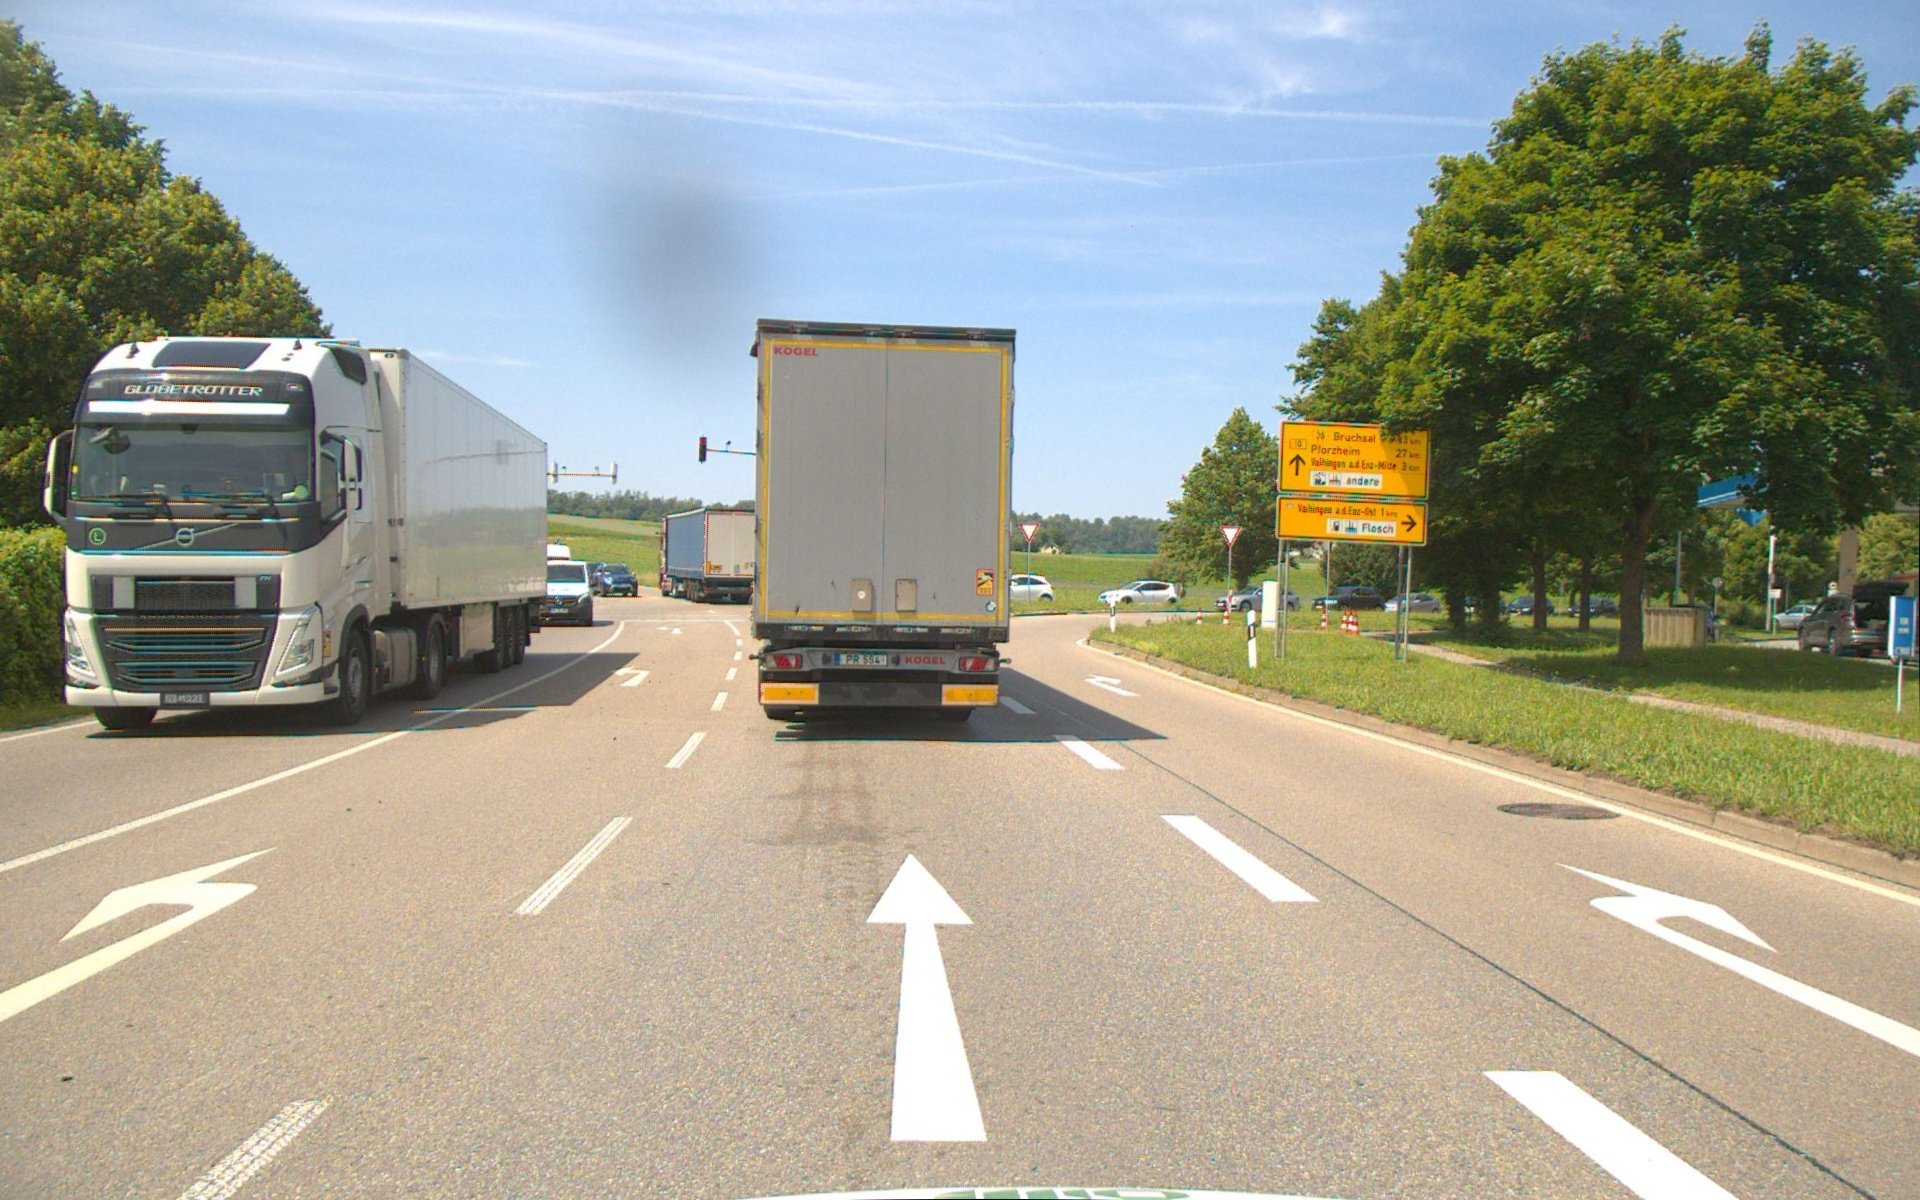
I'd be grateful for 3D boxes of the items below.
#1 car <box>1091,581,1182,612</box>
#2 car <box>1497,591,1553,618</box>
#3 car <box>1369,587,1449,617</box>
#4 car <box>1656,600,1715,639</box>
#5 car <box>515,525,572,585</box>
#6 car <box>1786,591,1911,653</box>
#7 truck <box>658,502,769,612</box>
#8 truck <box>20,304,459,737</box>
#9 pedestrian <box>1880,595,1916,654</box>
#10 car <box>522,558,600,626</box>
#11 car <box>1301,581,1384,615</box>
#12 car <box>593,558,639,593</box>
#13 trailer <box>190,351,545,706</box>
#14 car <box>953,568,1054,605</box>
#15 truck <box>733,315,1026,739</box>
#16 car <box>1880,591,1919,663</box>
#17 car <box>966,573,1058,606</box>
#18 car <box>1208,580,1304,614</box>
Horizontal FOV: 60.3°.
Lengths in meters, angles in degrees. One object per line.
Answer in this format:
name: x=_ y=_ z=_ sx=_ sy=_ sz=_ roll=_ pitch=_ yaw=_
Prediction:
car: x=8.512 y=-0.153 z=79.594 sx=4.039 sy=1.444 sz=1.787 roll=0 pitch=0 yaw=-25
car: x=33.794 y=0.287 z=98.873 sx=1.767 sy=1.536 sz=4.210 roll=1 pitch=-1 yaw=40
car: x=24.295 y=0.104 z=89.478 sx=4.510 sy=1.536 sz=1.778 roll=1 pitch=-1 yaw=-36
car: x=27.471 y=0.737 z=62.550 sx=1.720 sy=1.387 sz=4.315 roll=1 pitch=0 yaw=28
car: x=-17.969 y=-1.921 z=71.167 sx=2.019 sy=2.494 sz=5.242 roll=-1 pitch=1 yaw=-18
car: x=24.783 y=0.590 z=46.311 sx=1.989 sy=1.631 sz=4.944 roll=0 pitch=0 yaw=15
truck: x=-11.959 y=-1.892 z=78.595 sx=2.914 sy=4.664 sz=16.238 roll=0 pitch=0 yaw=-17
truck: x=-7.586 y=-0.775 z=18.305 sx=2.723 sy=4.012 sz=5.700 roll=0 pitch=1 yaw=-5
pedestrian: x=24.580 y=0.640 z=43.339 sx=0.651 sy=1.523 sz=0.722 roll=1 pitch=-1 yaw=14
car: x=-11.784 y=-0.288 z=49.096 sx=1.838 sy=1.897 sz=5.130 roll=0 pitch=1 yaw=-9
car: x=19.694 y=-0.086 z=85.109 sx=4.516 sy=1.536 sz=1.776 roll=3 pitch=-1 yaw=-39
car: x=-17.439 y=-1.252 z=83.726 sx=1.745 sy=1.687 sz=3.977 roll=0 pitch=1 yaw=-20
trailer: x=-8.447 y=-0.947 z=25.381 sx=2.726 sy=4.173 sz=11.641 roll=0 pitch=1 yaw=-8
car: x=2.114 y=-0.626 z=80.942 sx=4.545 sy=1.635 sz=1.992 roll=2 pitch=-1 yaw=-13
truck: x=-1.201 y=-0.748 z=20.608 sx=2.753 sy=4.015 sz=9.580 roll=1 pitch=1 yaw=-5
car: x=22.869 y=0.621 z=37.982 sx=1.951 sy=1.650 sz=4.633 roll=0 pitch=0 yaw=15
car: x=2.407 y=-0.481 z=76.842 sx=3.895 sy=1.444 sz=1.820 roll=0 pitch=0 yaw=-16
car: x=14.690 y=-0.151 z=82.052 sx=4.492 sy=1.536 sz=1.785 roll=2 pitch=-1 yaw=-27
